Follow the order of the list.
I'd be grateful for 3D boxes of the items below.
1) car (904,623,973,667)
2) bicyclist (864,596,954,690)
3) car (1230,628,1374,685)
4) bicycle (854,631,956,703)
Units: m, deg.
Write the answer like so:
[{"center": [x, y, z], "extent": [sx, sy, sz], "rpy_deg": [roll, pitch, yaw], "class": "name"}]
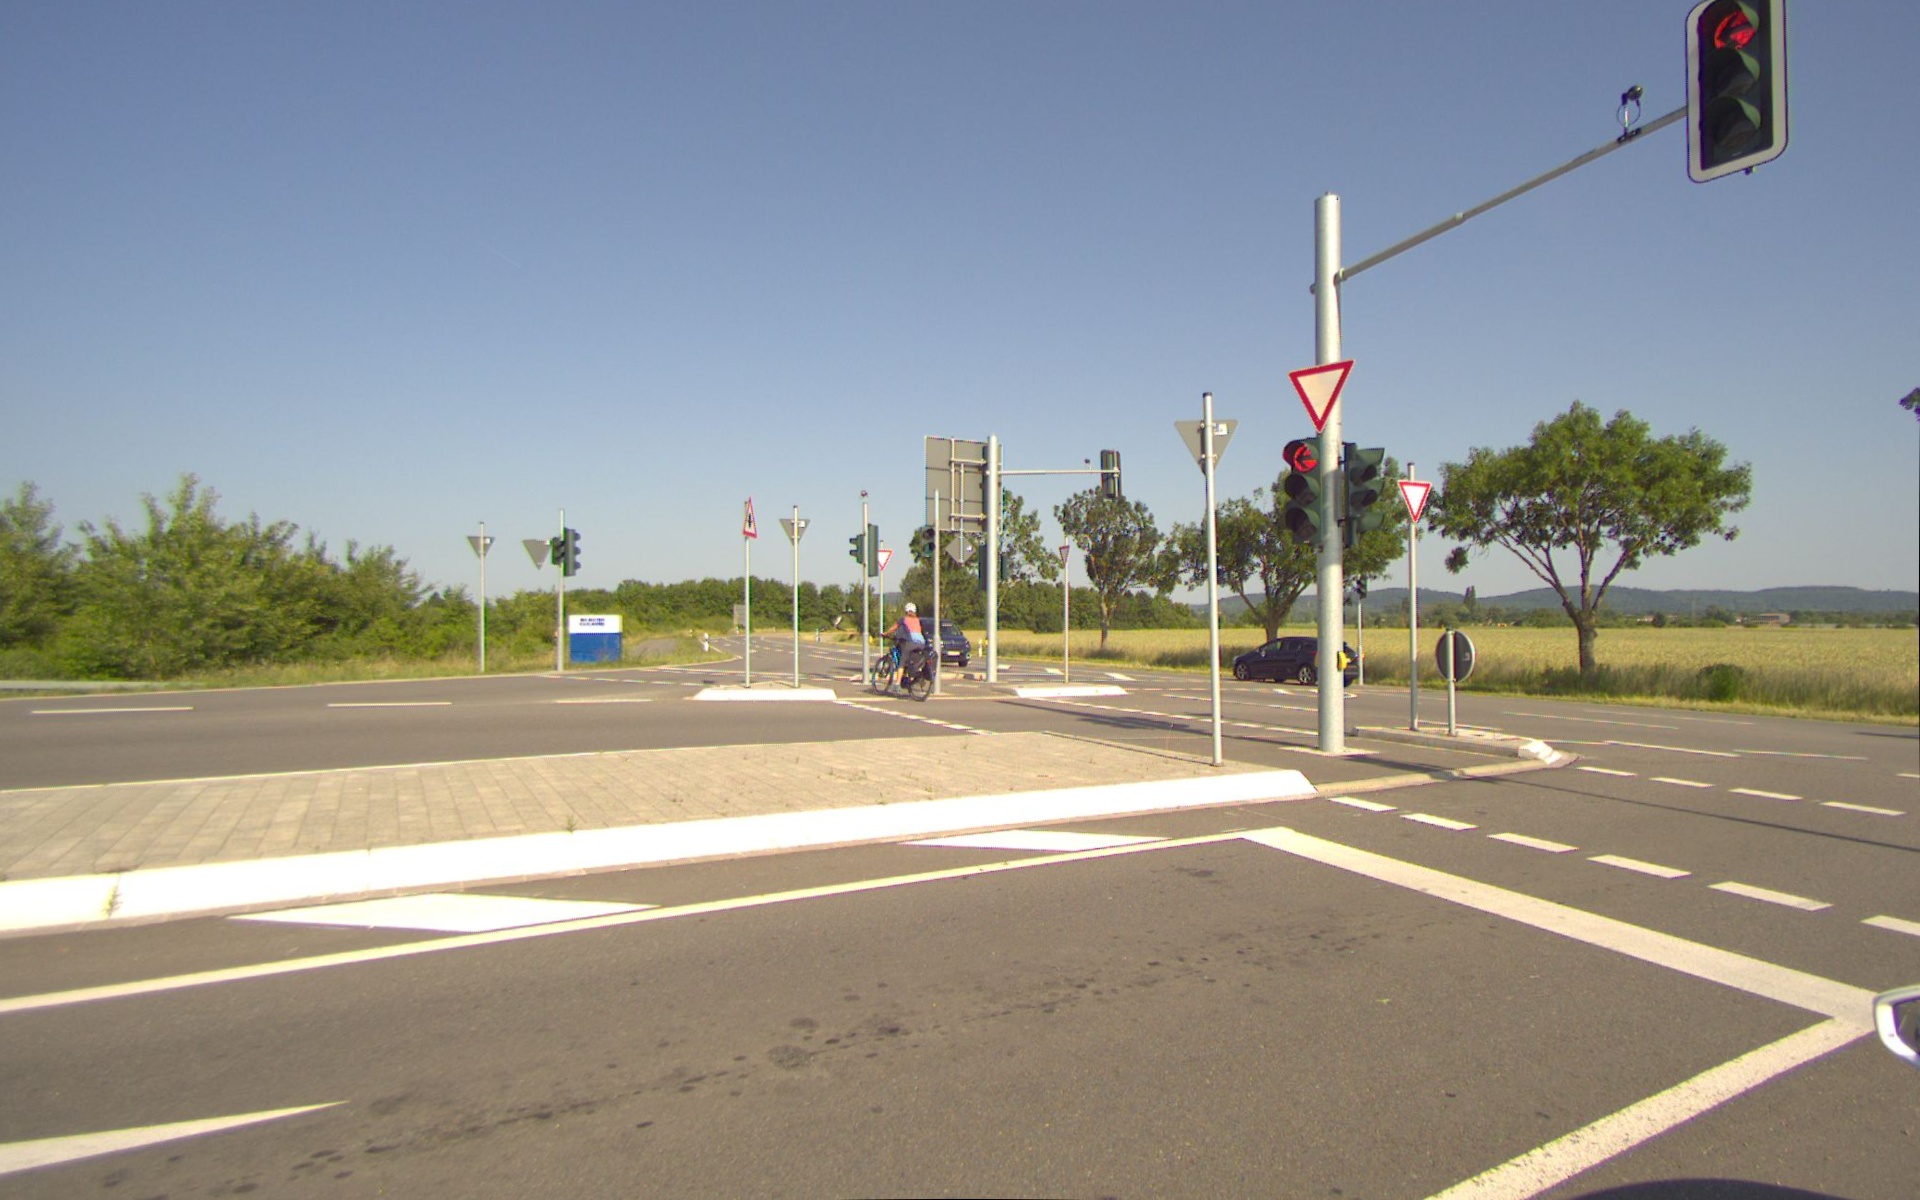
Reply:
[{"center": [-0.883, 1.747, 38.540], "extent": [1.740, 1.578, 3.843], "rpy_deg": [2, -3, -15], "class": "car"}, {"center": [-0.942, 0.754, 18.291], "extent": [1.153, 1.623, 1.271], "rpy_deg": [0, 0, -34], "class": "bicyclist"}, {"center": [10.370, 1.674, 30.728], "extent": [1.973, 1.521, 3.974], "rpy_deg": [0, 0, -25], "class": "car"}, {"center": [-1.045, 1.205, 18.543], "extent": [0.881, 1.202, 2.142], "rpy_deg": [2, -1, -34], "class": "bicycle"}]
